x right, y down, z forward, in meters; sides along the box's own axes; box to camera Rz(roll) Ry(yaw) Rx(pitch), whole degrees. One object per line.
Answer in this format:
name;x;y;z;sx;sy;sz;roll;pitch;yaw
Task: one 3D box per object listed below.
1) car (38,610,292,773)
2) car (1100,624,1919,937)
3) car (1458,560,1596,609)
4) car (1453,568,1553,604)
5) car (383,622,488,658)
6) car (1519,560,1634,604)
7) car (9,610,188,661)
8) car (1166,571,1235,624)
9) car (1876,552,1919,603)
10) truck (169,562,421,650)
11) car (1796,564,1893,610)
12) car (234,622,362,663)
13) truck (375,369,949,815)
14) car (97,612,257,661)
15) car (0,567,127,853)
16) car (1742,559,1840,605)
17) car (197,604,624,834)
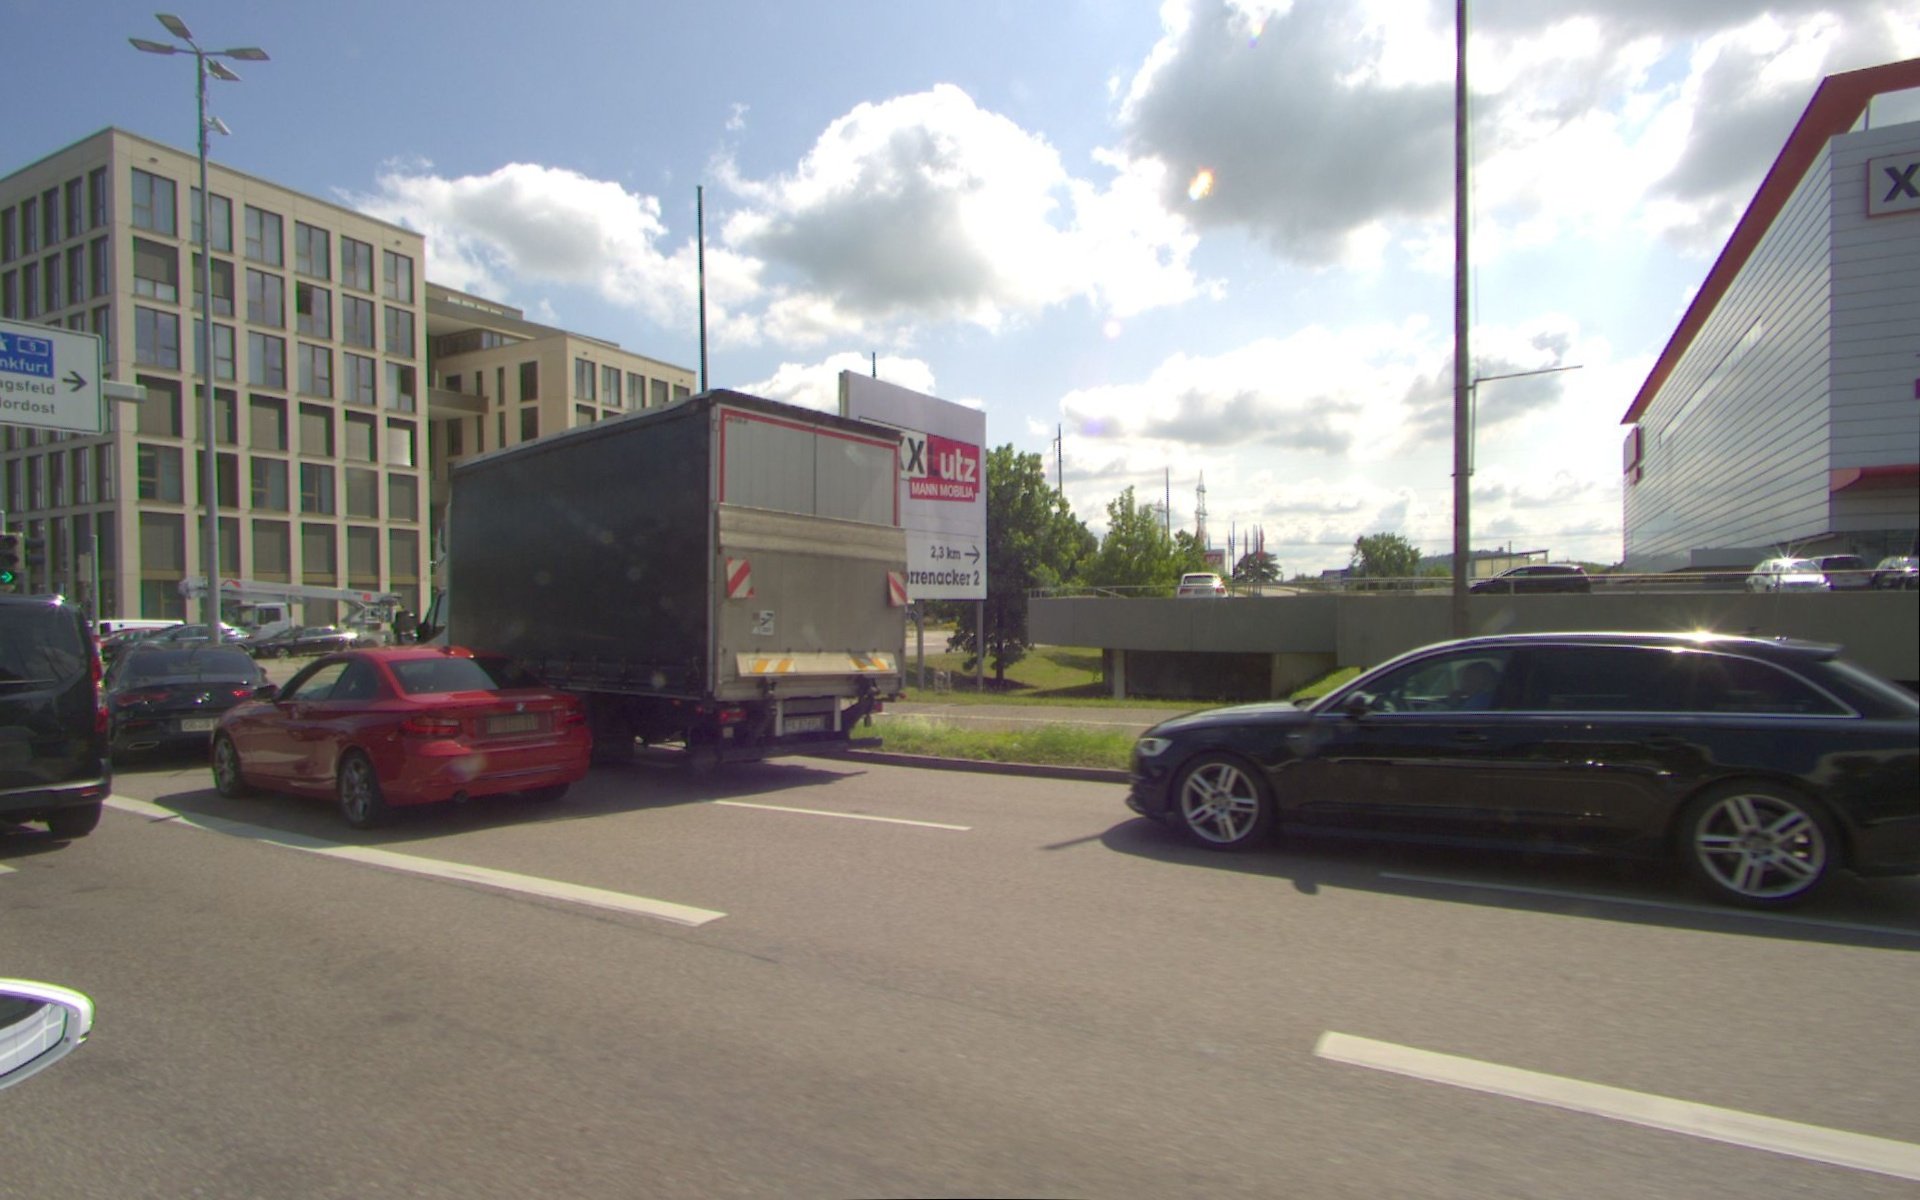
car;-10.257;1.046;12.806;4.173;1.677;1.848;-2;0;42
car;3.404;0.929;6.614;4.613;1.497;1.770;-2;-2;33
car;21.154;-0.534;37.568;4.352;1.626;1.949;-1;-2;26
car;27.446;-0.673;50.757;4.355;1.626;1.947;-1;-2;28
car;-25.049;1.916;47.935;1.800;1.647;4.196;-2;-3;29
car;28.526;-0.797;46.511;4.352;1.808;1.949;-1;-1;26
car;-33.708;1.413;39.354;1.967;1.861;4.979;-2;-3;24
car;8.167;-0.028;34.291;1.845;1.606;4.166;-1;-2;8
car;37.226;-0.843;38.666;1.888;1.772;3.983;-2;-3;30
truck;-30.182;0.429;46.167;2.632;3.599;9.757;-1;-3;25
car;35.597;-0.476;40.431;1.925;1.626;4.406;-1;-2;28
car;-28.010;1.821;42.510;1.801;1.647;4.193;-2;-3;30
truck;-4.515;0.130;13.379;8.973;4.078;3.196;-3;-3;42
car;-28.064;1.316;36.034;1.798;1.647;4.200;-2;-3;24
car;-8.250;0.783;7.666;3.944;1.929;1.819;-1;-2;33
car;30.840;-0.626;37.311;1.925;1.489;4.406;-1;-2;28
car;-5.194;0.974;9.291;4.164;1.676;1.854;-3;-3;35
